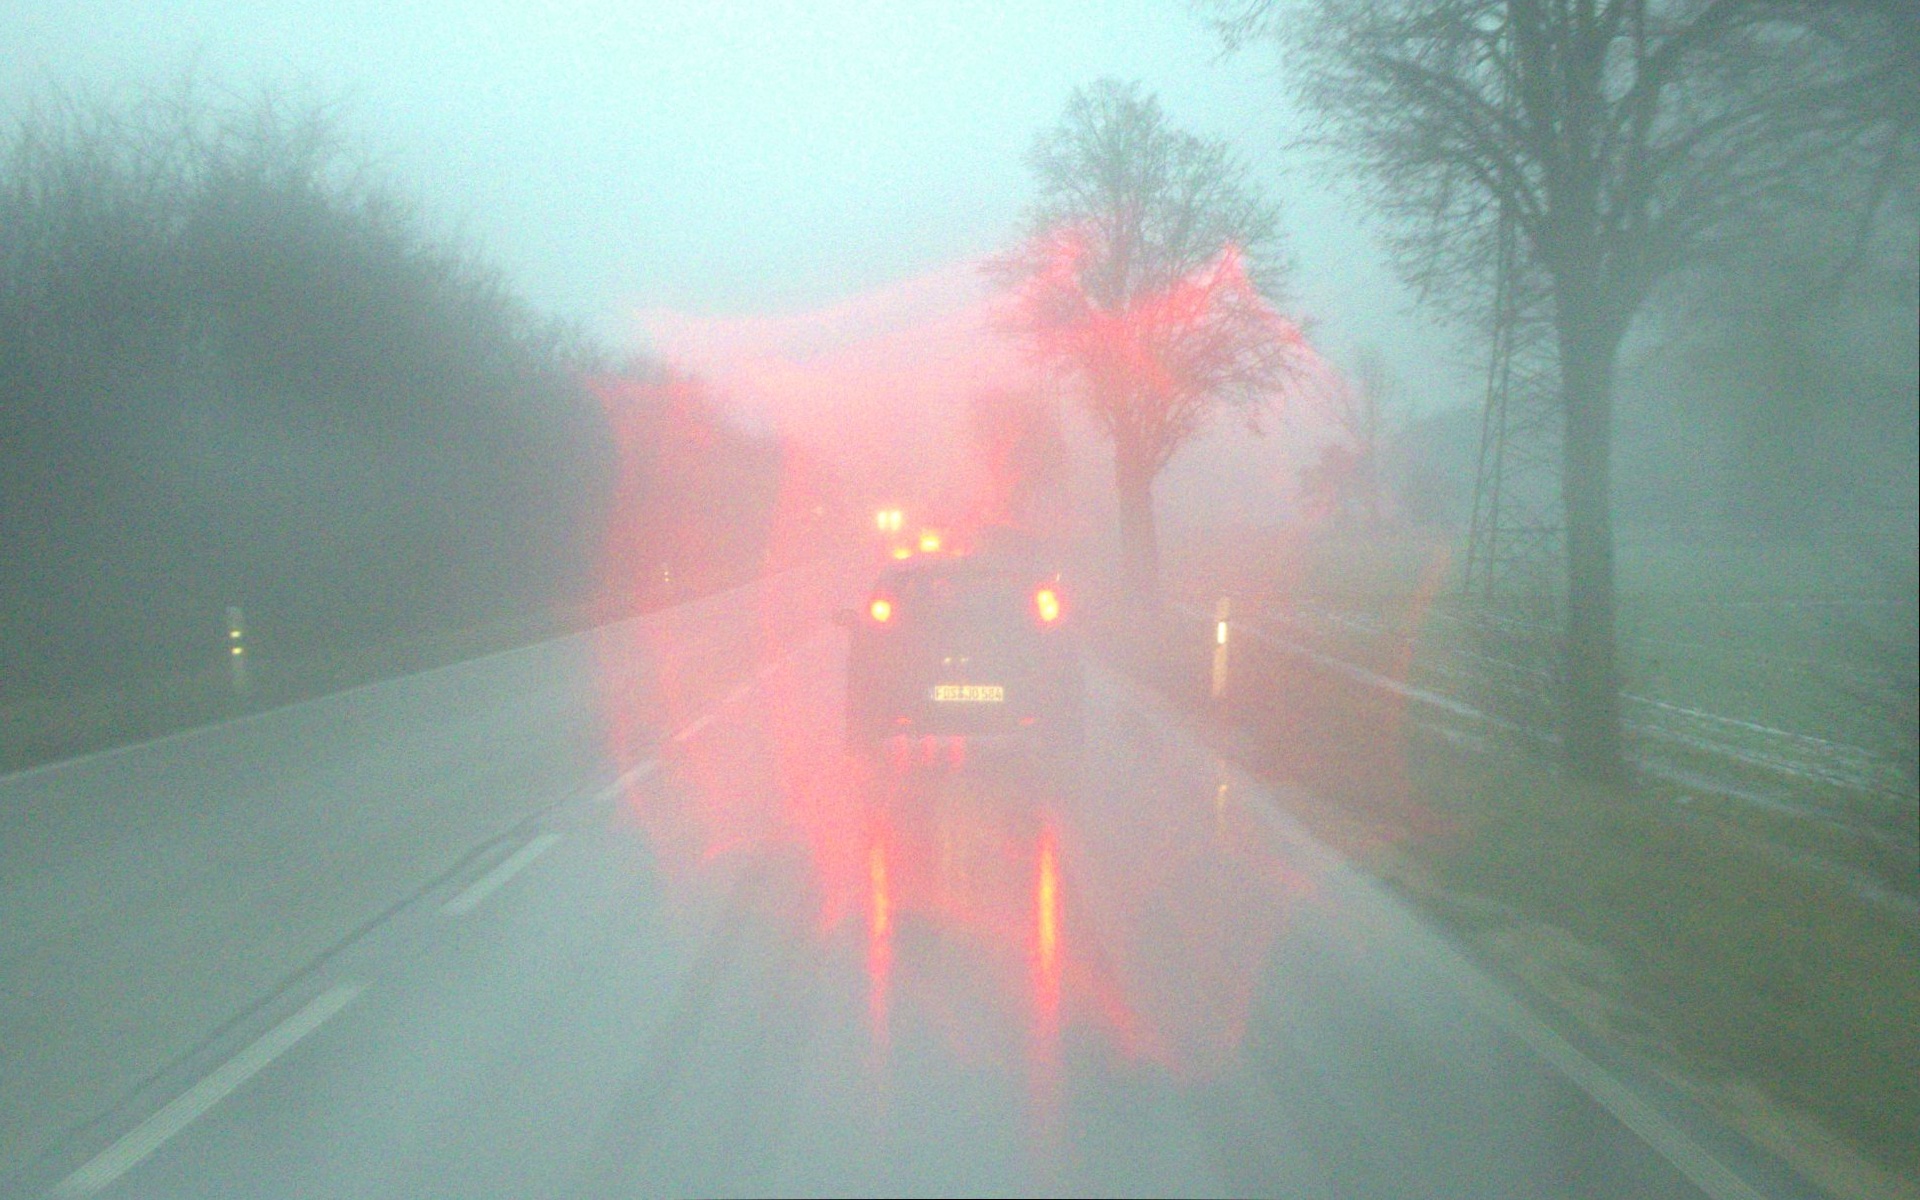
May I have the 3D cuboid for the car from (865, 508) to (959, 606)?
[{"bbox_3d":[-1.129,-1.068,83.228,1.993,2.006,4.001,3,5,1],"label":"car"}]

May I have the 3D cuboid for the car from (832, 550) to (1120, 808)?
[{"bbox_3d":[0.100,0.520,25.857,1.993,1.746,4.000,0,1,0],"label":"car"}]
